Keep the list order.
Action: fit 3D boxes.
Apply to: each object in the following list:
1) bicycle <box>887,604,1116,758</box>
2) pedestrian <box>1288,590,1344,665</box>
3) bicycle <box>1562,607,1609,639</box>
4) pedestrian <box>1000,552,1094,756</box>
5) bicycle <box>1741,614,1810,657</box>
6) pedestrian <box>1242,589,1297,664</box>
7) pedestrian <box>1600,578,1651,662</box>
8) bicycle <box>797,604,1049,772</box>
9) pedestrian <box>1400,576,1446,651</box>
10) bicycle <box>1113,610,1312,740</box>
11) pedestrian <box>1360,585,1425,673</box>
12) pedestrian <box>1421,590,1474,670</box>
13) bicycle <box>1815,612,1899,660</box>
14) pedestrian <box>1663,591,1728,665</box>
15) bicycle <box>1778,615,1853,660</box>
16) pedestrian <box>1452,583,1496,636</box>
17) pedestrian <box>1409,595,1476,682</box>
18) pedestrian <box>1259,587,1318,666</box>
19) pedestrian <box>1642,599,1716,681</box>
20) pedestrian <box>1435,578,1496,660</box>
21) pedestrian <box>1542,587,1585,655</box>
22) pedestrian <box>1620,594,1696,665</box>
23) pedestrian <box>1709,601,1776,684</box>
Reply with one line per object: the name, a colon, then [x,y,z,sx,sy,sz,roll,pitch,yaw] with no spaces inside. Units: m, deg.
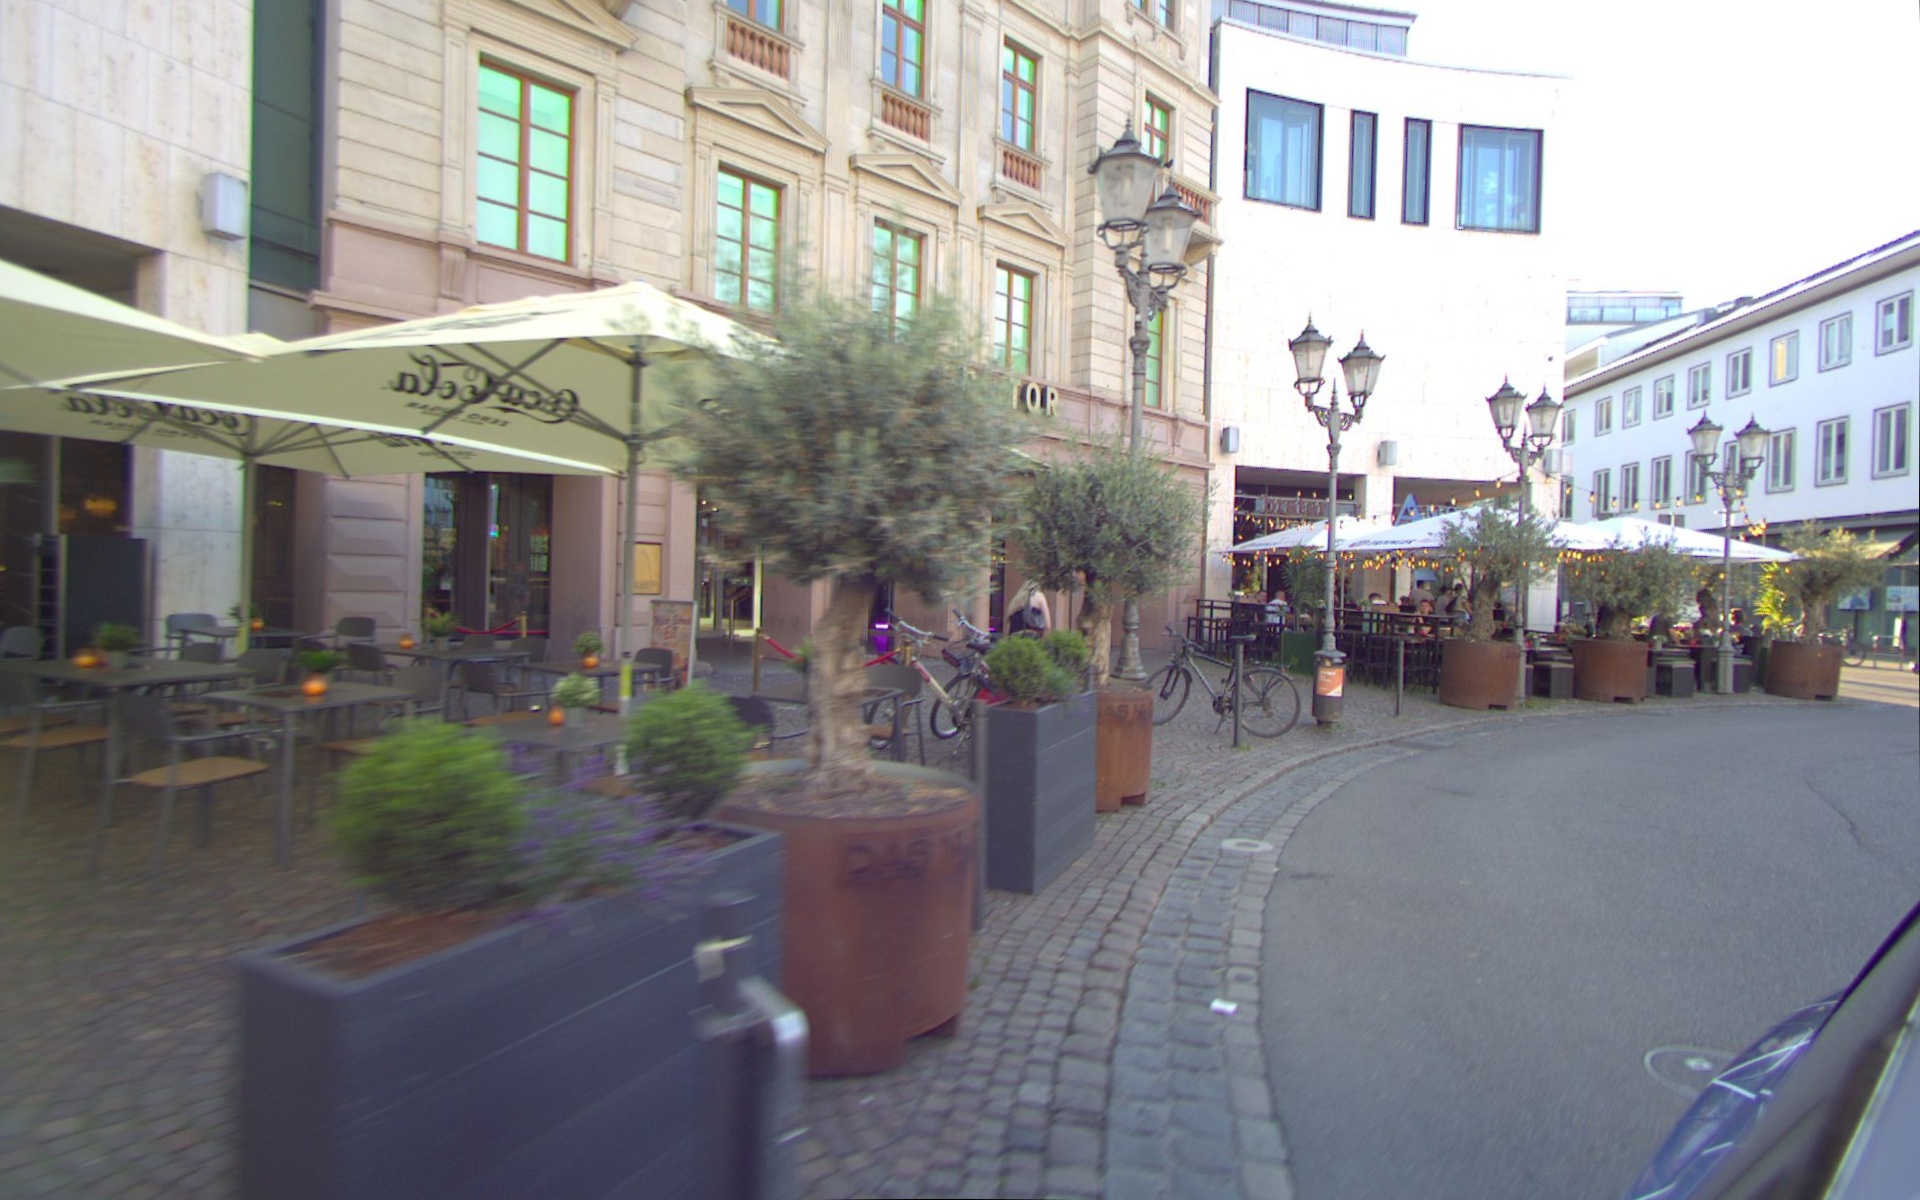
bicycle: [0.373,0.667,8.789,1.876,1.142,0.605,4,1,11]
pedestrian: [7.226,0.551,20.563,0.837,1.465,0.775,1,0,1]
bicycle: [25.507,0.925,41.292,0.785,1.232,2.228,1,1,8]
pedestrian: [0.713,0.427,8.460,0.701,1.608,0.749,2,0,3]
bicycle: [24.326,1.040,30.229,0.513,1.156,1.963,1,1,3]
pedestrian: [6.257,0.519,20.506,0.837,1.465,0.775,1,0,1]
pedestrian: [14.330,0.418,21.807,0.706,1.769,0.706,1,0,16]
bicycle: [-0.281,0.664,8.086,1.876,1.142,0.605,4,1,11]
pedestrian: [11.187,0.324,24.454,0.702,1.769,0.711,1,0,-8]
bicycle: [2.611,0.737,10.494,1.884,1.142,0.603,4,1,22]
pedestrian: [7.503,0.491,17.587,0.851,1.465,0.721,1,0,9]
pedestrian: [11.436,0.697,23.759,0.833,1.825,0.731,1,0,-8]
bicycle: [23.592,0.933,26.650,0.513,1.156,1.963,1,1,3]
pedestrian: [17.957,0.664,24.706,0.902,1.763,0.936,1,0,-25]
bicycle: [24.061,1.039,28.501,0.513,1.156,1.963,1,1,3]
pedestrian: [13.667,0.237,26.920,0.769,1.366,0.710,1,0,0]
pedestrian: [8.452,0.657,17.769,0.851,1.465,0.721,1,0,9]
pedestrian: [6.366,0.498,19.637,0.836,1.465,0.775,1,0,-1]
pedestrian: [13.411,0.737,18.898,0.851,1.465,0.721,1,0,9]
pedestrian: [11.531,0.428,23.122,0.962,1.825,0.730,1,0,-8]
pedestrian: [16.029,0.546,26.893,0.704,1.769,0.709,1,0,4]
pedestrian: [15.043,0.614,21.839,0.928,1.465,0.971,1,0,1]
pedestrian: [14.451,0.766,18.705,0.682,1.465,0.721,1,0,10]
